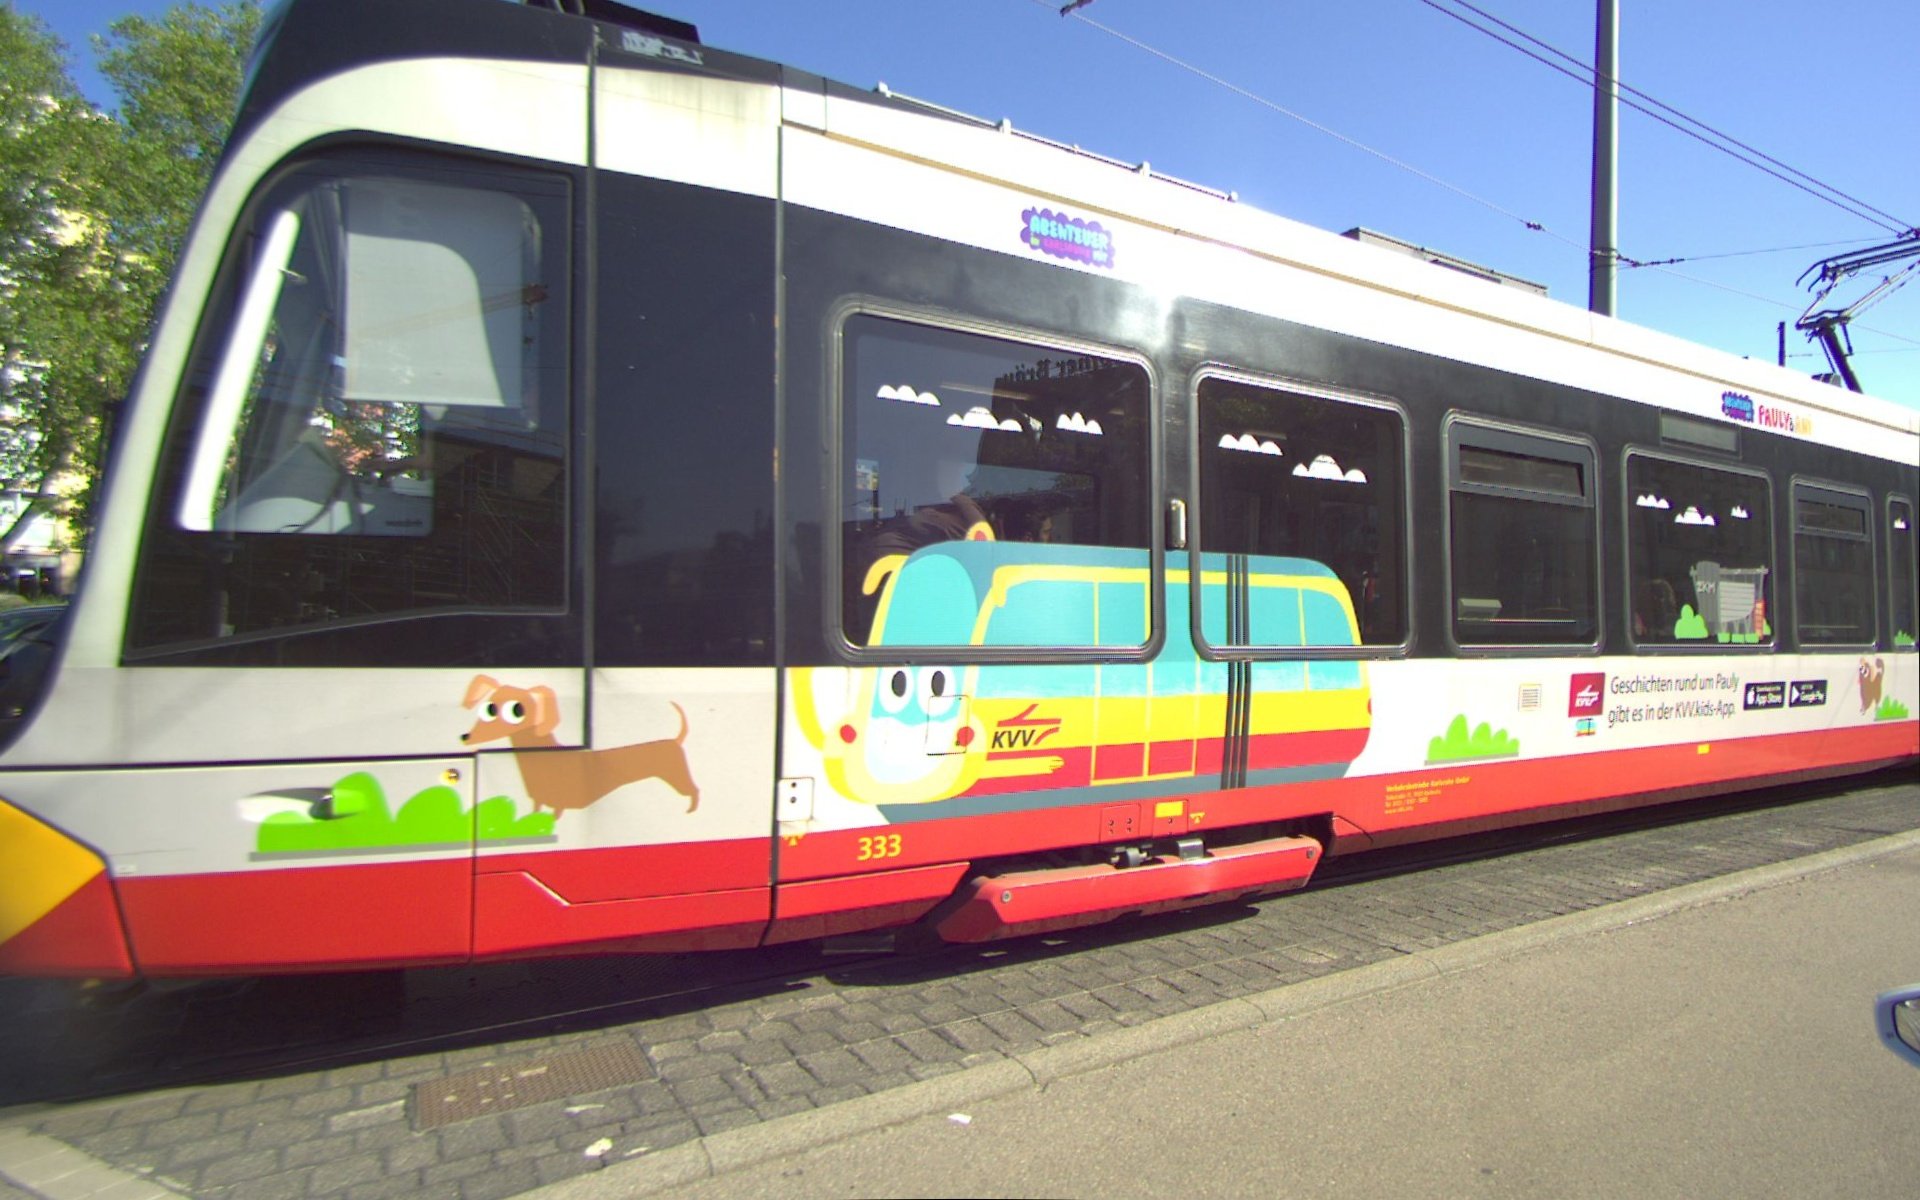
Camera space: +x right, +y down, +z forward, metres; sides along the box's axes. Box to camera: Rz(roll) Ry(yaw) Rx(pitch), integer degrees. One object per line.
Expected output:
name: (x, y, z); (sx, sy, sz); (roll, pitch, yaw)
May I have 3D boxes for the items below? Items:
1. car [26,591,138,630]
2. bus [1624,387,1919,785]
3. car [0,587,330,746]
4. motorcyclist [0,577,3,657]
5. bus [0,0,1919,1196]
car: (-36.673, 0.424, 41.965); (3.923, 1.519, 1.999); (1, 0, 23)
bus: (12.939, -0.022, 12.706); (10.591, 3.637, 2.829); (1, 0, -28)
car: (-8.964, 0.657, 10.467); (3.923, 1.498, 1.643); (2, -2, -29)
motorcyclist: (-8.849, 0.577, 8.485); (0.931, 1.600, 0.583); (2, -1, -28)
bus: (2.648, -0.329, 6.789); (13.339, 3.637, 2.827); (1, 0, -31)
